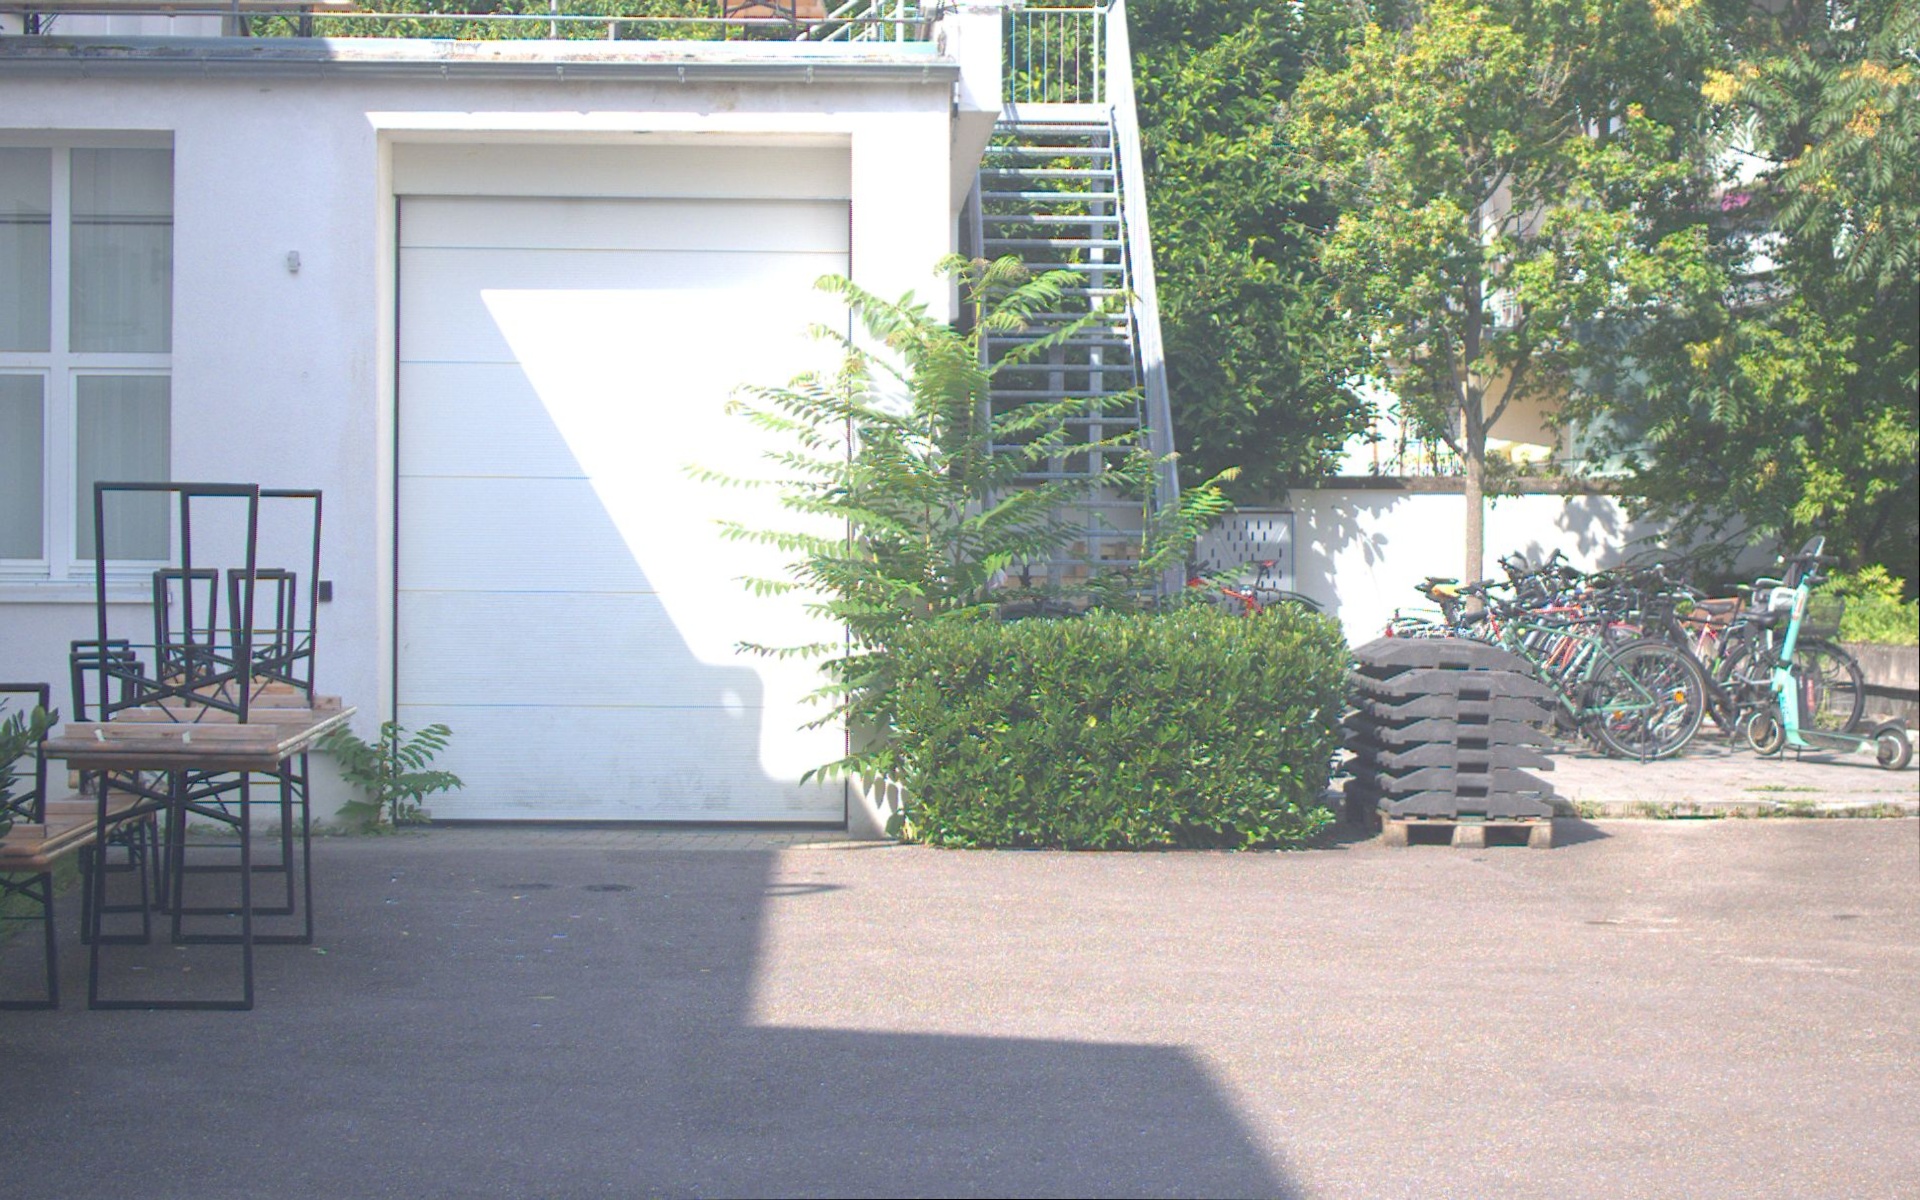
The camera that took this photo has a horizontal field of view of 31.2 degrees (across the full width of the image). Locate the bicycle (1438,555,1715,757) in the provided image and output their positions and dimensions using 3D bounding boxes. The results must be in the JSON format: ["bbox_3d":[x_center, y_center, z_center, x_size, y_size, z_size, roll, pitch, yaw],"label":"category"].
[{"bbox_3d":[3.753,0.337,20.961,1.623,1.210,0.327,0,1,0],"label":"bicycle"}]

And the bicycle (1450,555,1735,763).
[{"bbox_3d":[3.737,0.346,20.345,1.623,1.210,0.327,0,1,0],"label":"bicycle"}]

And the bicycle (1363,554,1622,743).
[{"bbox_3d":[3.470,0.312,22.446,1.623,1.210,0.424,0,1,-2],"label":"bicycle"}]

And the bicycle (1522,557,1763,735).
[{"bbox_3d":[4.716,0.313,23.802,1.624,1.210,0.424,0,1,11],"label":"bicycle"}]

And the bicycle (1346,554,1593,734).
[{"bbox_3d":[3.506,0.295,23.684,1.623,1.210,0.424,0,1,-6],"label":"bicycle"}]

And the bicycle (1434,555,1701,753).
[{"bbox_3d":[3.773,0.331,21.413,1.623,1.210,0.327,0,1,8],"label":"bicycle"}]

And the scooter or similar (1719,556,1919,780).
[{"bbox_3d":[5.078,0.376,20.137,0.378,1.256,1.349,-1,1,-34],"label":"scooter or similar"}]

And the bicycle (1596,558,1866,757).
[{"bbox_3d":[4.780,0.348,21.340,1.624,1.210,0.327,0,1,13],"label":"bicycle"}]

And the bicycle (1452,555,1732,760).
[{"bbox_3d":[3.793,0.342,20.668,1.623,1.210,0.327,0,1,0],"label":"bicycle"}]

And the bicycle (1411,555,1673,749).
[{"bbox_3d":[3.682,0.325,21.775,1.624,1.210,0.327,0,1,11],"label":"bicycle"}]

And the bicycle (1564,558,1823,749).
[{"bbox_3d":[4.726,0.336,22.200,1.624,1.210,0.424,0,1,11],"label":"bicycle"}]

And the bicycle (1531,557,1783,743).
[{"bbox_3d":[4.609,0.326,22.773,1.624,1.210,0.424,0,1,11],"label":"bicycle"}]

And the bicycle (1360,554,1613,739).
[{"bbox_3d":[3.532,0.304,23.083,1.623,1.210,0.424,0,1,-7],"label":"bicycle"}]
